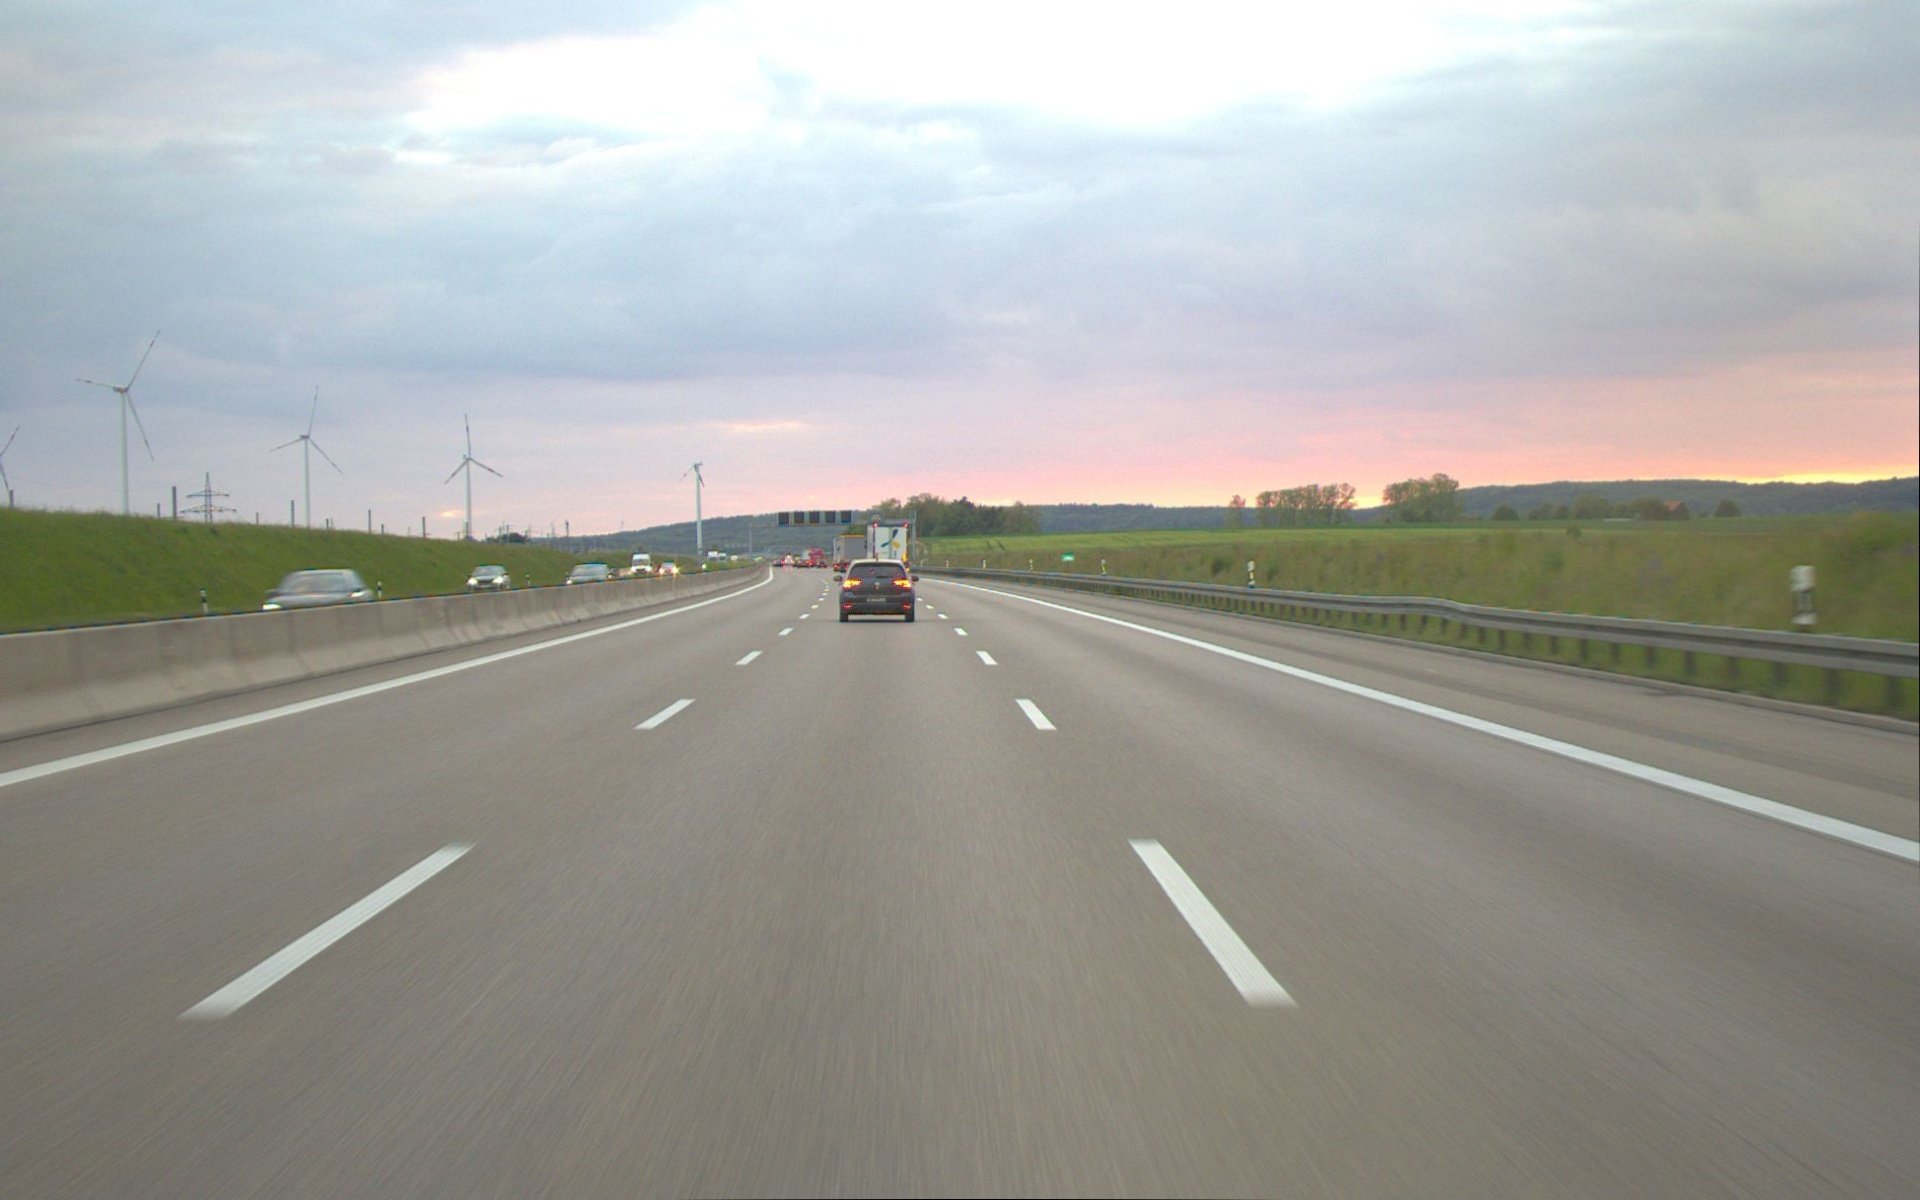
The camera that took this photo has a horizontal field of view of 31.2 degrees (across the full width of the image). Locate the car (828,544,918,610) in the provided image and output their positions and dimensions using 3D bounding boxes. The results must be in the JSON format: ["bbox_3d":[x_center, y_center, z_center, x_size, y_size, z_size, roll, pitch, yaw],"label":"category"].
[{"bbox_3d":[-1.982,-0.556,79.730,1.987,1.425,4.000,-1,1,0],"label":"car"}]

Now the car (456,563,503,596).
[{"bbox_3d":[-24.309,-1.045,174.090,1.861,1.548,4.582,-2,1,-2],"label":"car"}]

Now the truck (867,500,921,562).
[{"bbox_3d":[-5.061,-5.200,260.268,3.675,4.549,10.982,-1,1,-3],"label":"truck"}]

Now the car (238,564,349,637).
[{"bbox_3d":[-13.524,-0.008,69.898,1.577,1.380,3.773,-2,1,-2],"label":"car"}]
